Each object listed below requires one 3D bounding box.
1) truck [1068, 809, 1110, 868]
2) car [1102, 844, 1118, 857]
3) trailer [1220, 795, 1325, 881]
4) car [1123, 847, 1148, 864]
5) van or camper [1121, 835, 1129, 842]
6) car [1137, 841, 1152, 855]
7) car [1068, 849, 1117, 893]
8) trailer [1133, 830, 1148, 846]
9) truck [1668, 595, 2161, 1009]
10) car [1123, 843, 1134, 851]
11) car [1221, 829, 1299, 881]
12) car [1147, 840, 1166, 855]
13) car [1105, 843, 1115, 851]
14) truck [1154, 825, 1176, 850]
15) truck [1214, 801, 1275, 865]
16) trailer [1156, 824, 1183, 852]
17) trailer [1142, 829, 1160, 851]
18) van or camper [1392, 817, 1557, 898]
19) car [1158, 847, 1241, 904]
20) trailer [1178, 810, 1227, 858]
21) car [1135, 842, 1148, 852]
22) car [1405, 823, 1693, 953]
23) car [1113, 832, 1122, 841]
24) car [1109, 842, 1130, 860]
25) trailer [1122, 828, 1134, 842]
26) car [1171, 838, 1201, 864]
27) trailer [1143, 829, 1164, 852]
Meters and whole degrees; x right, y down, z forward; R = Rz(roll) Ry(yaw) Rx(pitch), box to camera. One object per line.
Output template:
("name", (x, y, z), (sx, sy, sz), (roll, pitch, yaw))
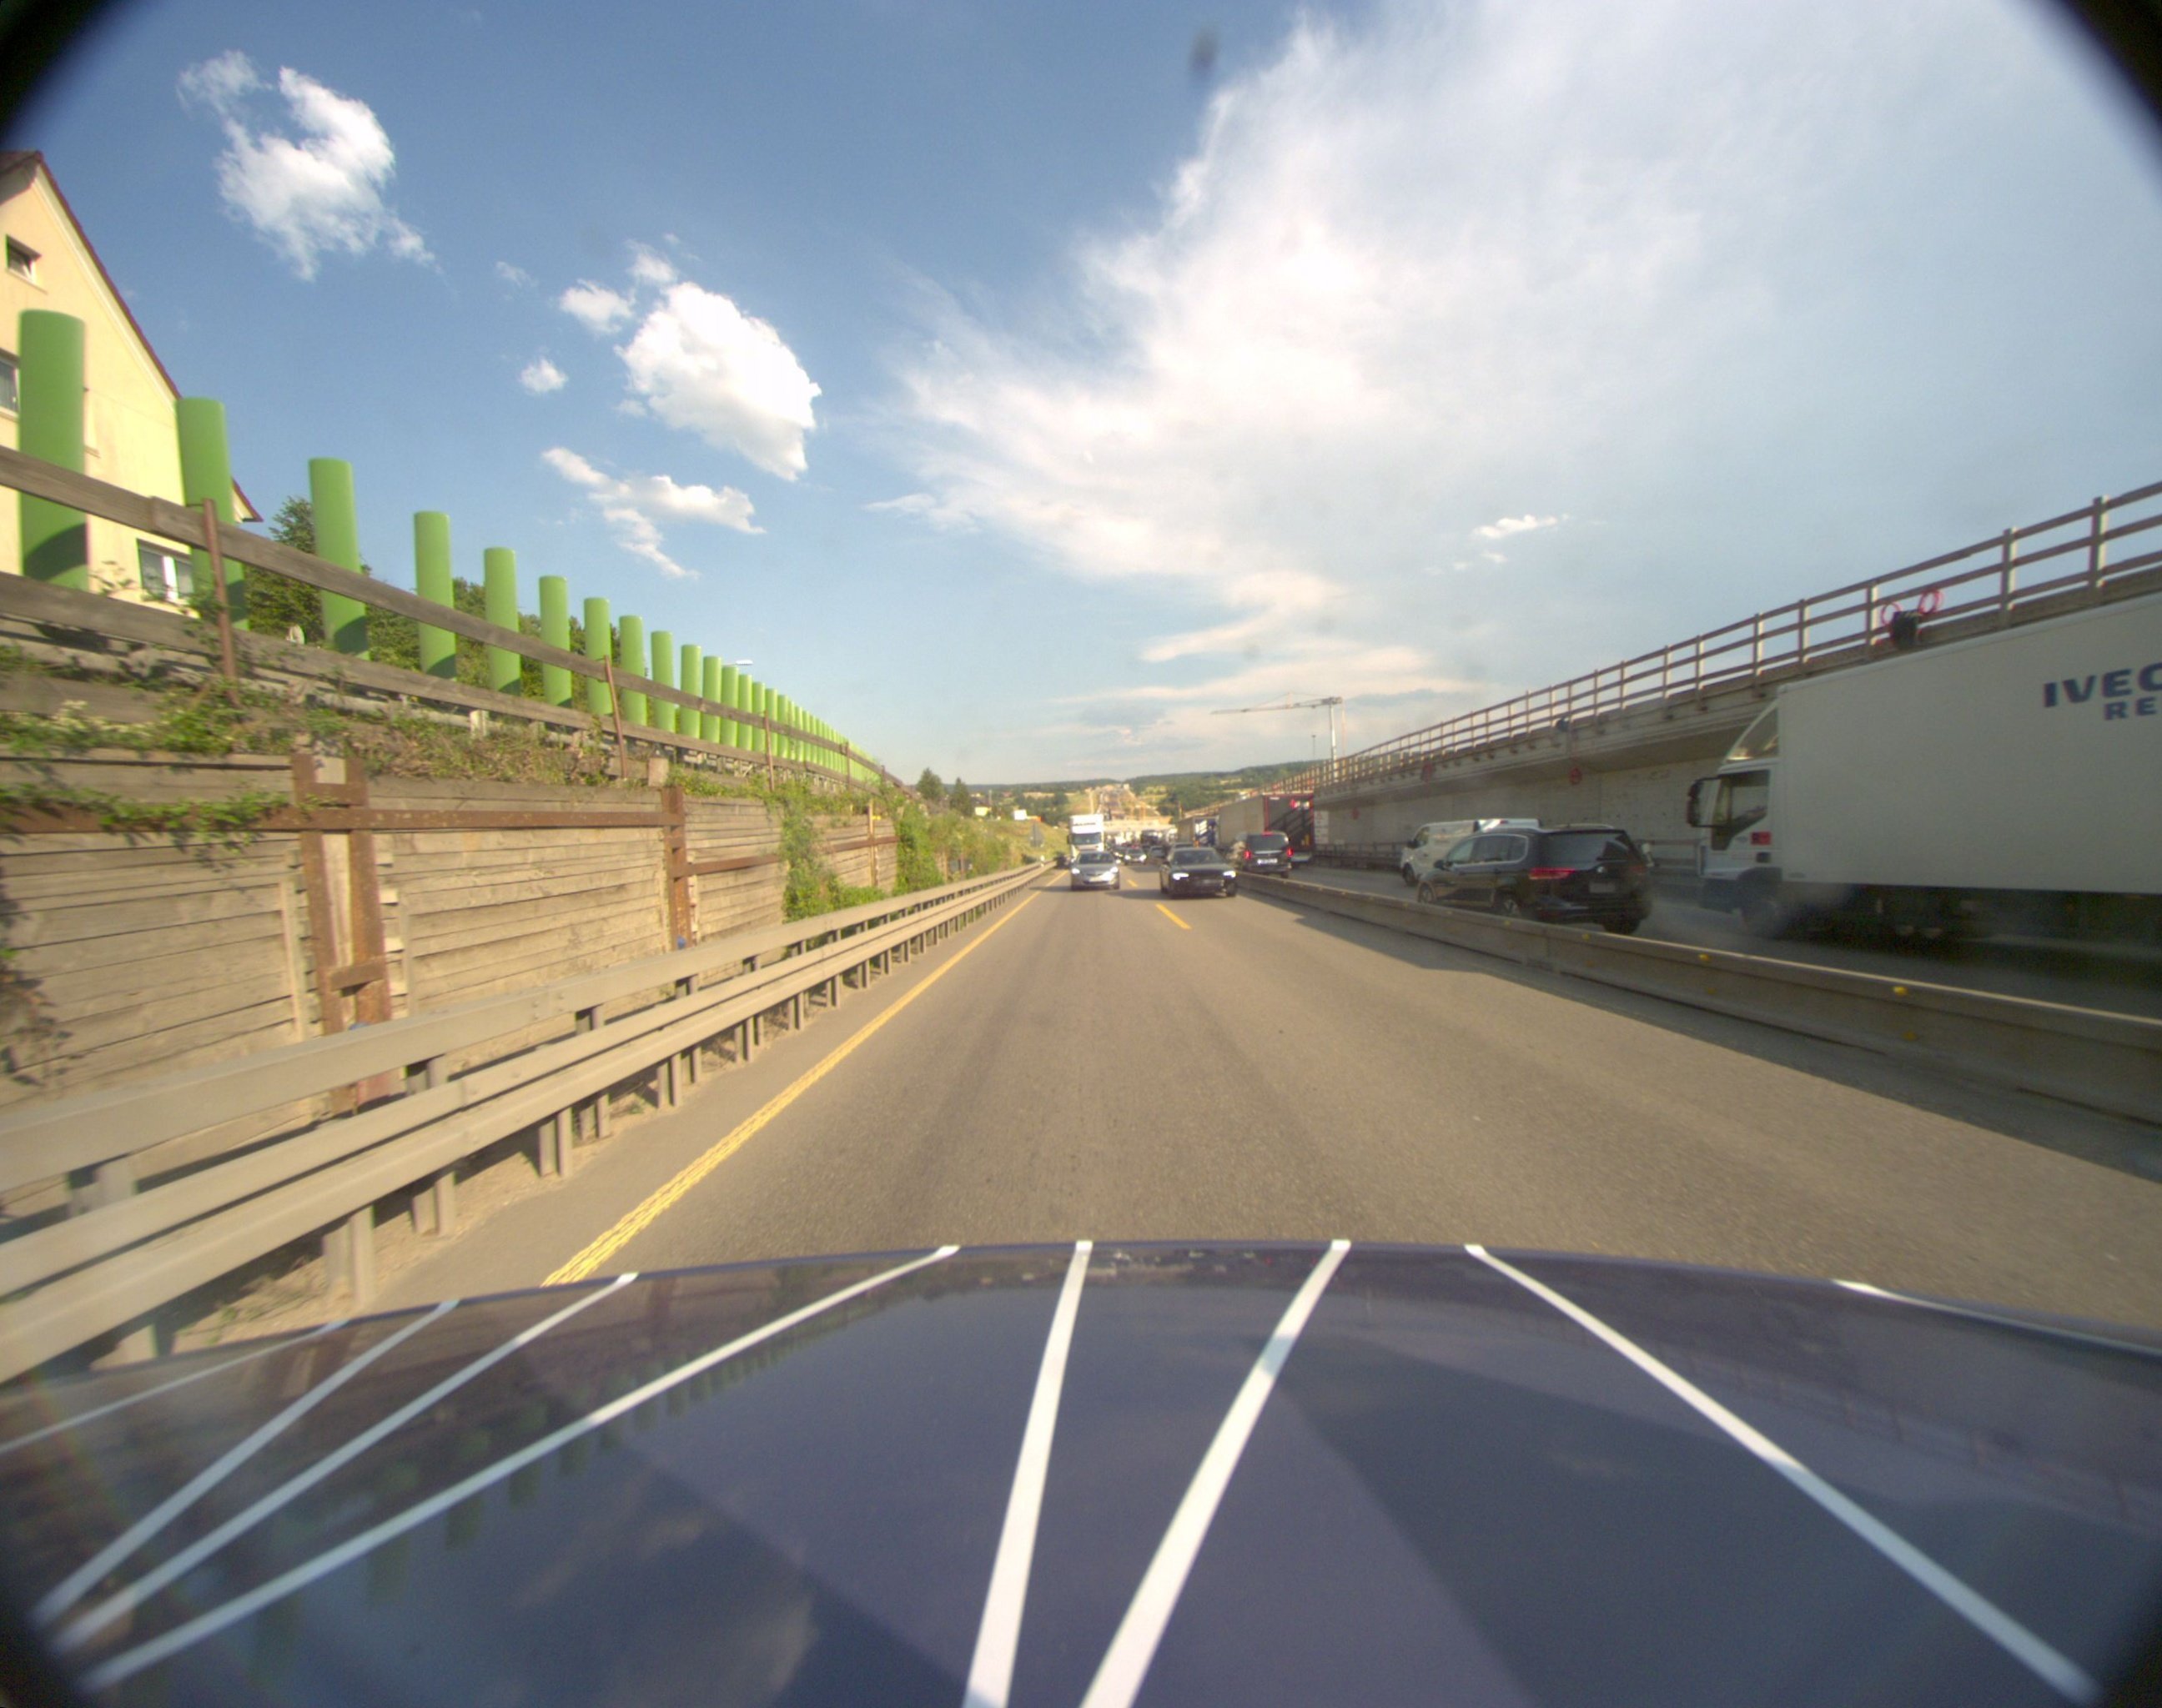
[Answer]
("truck", (0.766, -1.264, 60.241), (2.741, 4.034, 12.668), (-3, 2, 2))
("car", (3.873, -0.505, 102.140), (1.917, 1.746, 3.999), (-1, 1, 0))
("trailer", (10.947, -0.973, 45.414), (2.920, 4.216, 13.765), (-3, 2, 1))
("car", (4.484, 0.099, 63.063), (1.692, 1.294, 3.882), (-3, 2, 0))
("van or camper", (12.104, -4.267, 208.561), (1.863, 2.002, 5.294), (-3, 2, 0))
("car", (8.577, -0.848, 103.094), (1.645, 1.636, 4.688), (-3, 2, 1))
("car", (0.454, 0.598, 28.428), (1.671, 1.425, 3.523), (-2, 1, 1))
("trailer", (14.759, -3.959, 188.611), (2.659, 3.829, 13.439), (-3, 2, 1))
("truck", (10.260, -0.450, 7.407), (2.721, 3.405, 8.138), (0, 2, 0))
("car", (9.388, -1.432, 150.375), (1.770, 1.543, 4.835), (-3, 2, 0))
("car", (7.376, -0.001, 31.906), (1.990, 1.911, 5.290), (-3, 1, 1))
("car", (8.176, -0.728, 83.011), (1.645, 1.451, 4.595), (-3, 2, 1))
("car", (6.090, -1.521, 159.631), (1.998, 1.696, 3.999), (-2, 1, 1))
("truck", (12.106, -2.345, 109.487), (2.555, 3.390, 5.530), (-3, 2, 1))
("truck", (11.021, -1.435, 51.742), (2.867, 3.985, 5.656), (-3, 2, 1))
("trailer", (11.947, -2.228, 102.892), (2.563, 3.507, 10.679), (-3, 2, 2))
("trailer", (13.823, -2.810, 150.738), (2.778, 4.008, 7.206), (-3, 2, 2))
("van or camper", (10.830, 0.055, 21.438), (1.922, 1.911, 4.921), (-3, 1, -2))
("car", (3.422, 0.568, 22.735), (1.873, 1.411, 4.348), (-2, 1, 1))
("trailer", (11.691, -1.809, 74.625), (2.771, 4.117, 14.025), (-3, 0, 2))
("car", (10.204, -1.246, 128.147), (1.729, 1.548, 4.297), (-3, 1, 1))
("car", (7.208, 0.394, 12.421), (1.836, 1.636, 4.688), (-3, 2, 1))
("car", (11.021, -5.383, 229.498), (1.999, 2.608, 7.407), (-3, 2, -2))
("car", (4.148, -0.340, 81.846), (1.998, 1.740, 3.999), (-2, 1, 0))
("trailer", (14.562, -5.915, 235.513), (2.933, 4.014, 13.770), (-3, 2, 1))
("car", (8.020, -0.296, 58.392), (1.826, 1.762, 5.139), (-3, 2, 3))
("trailer", (13.584, -2.599, 143.280), (2.778, 4.008, 15.760), (-3, 2, 2))
